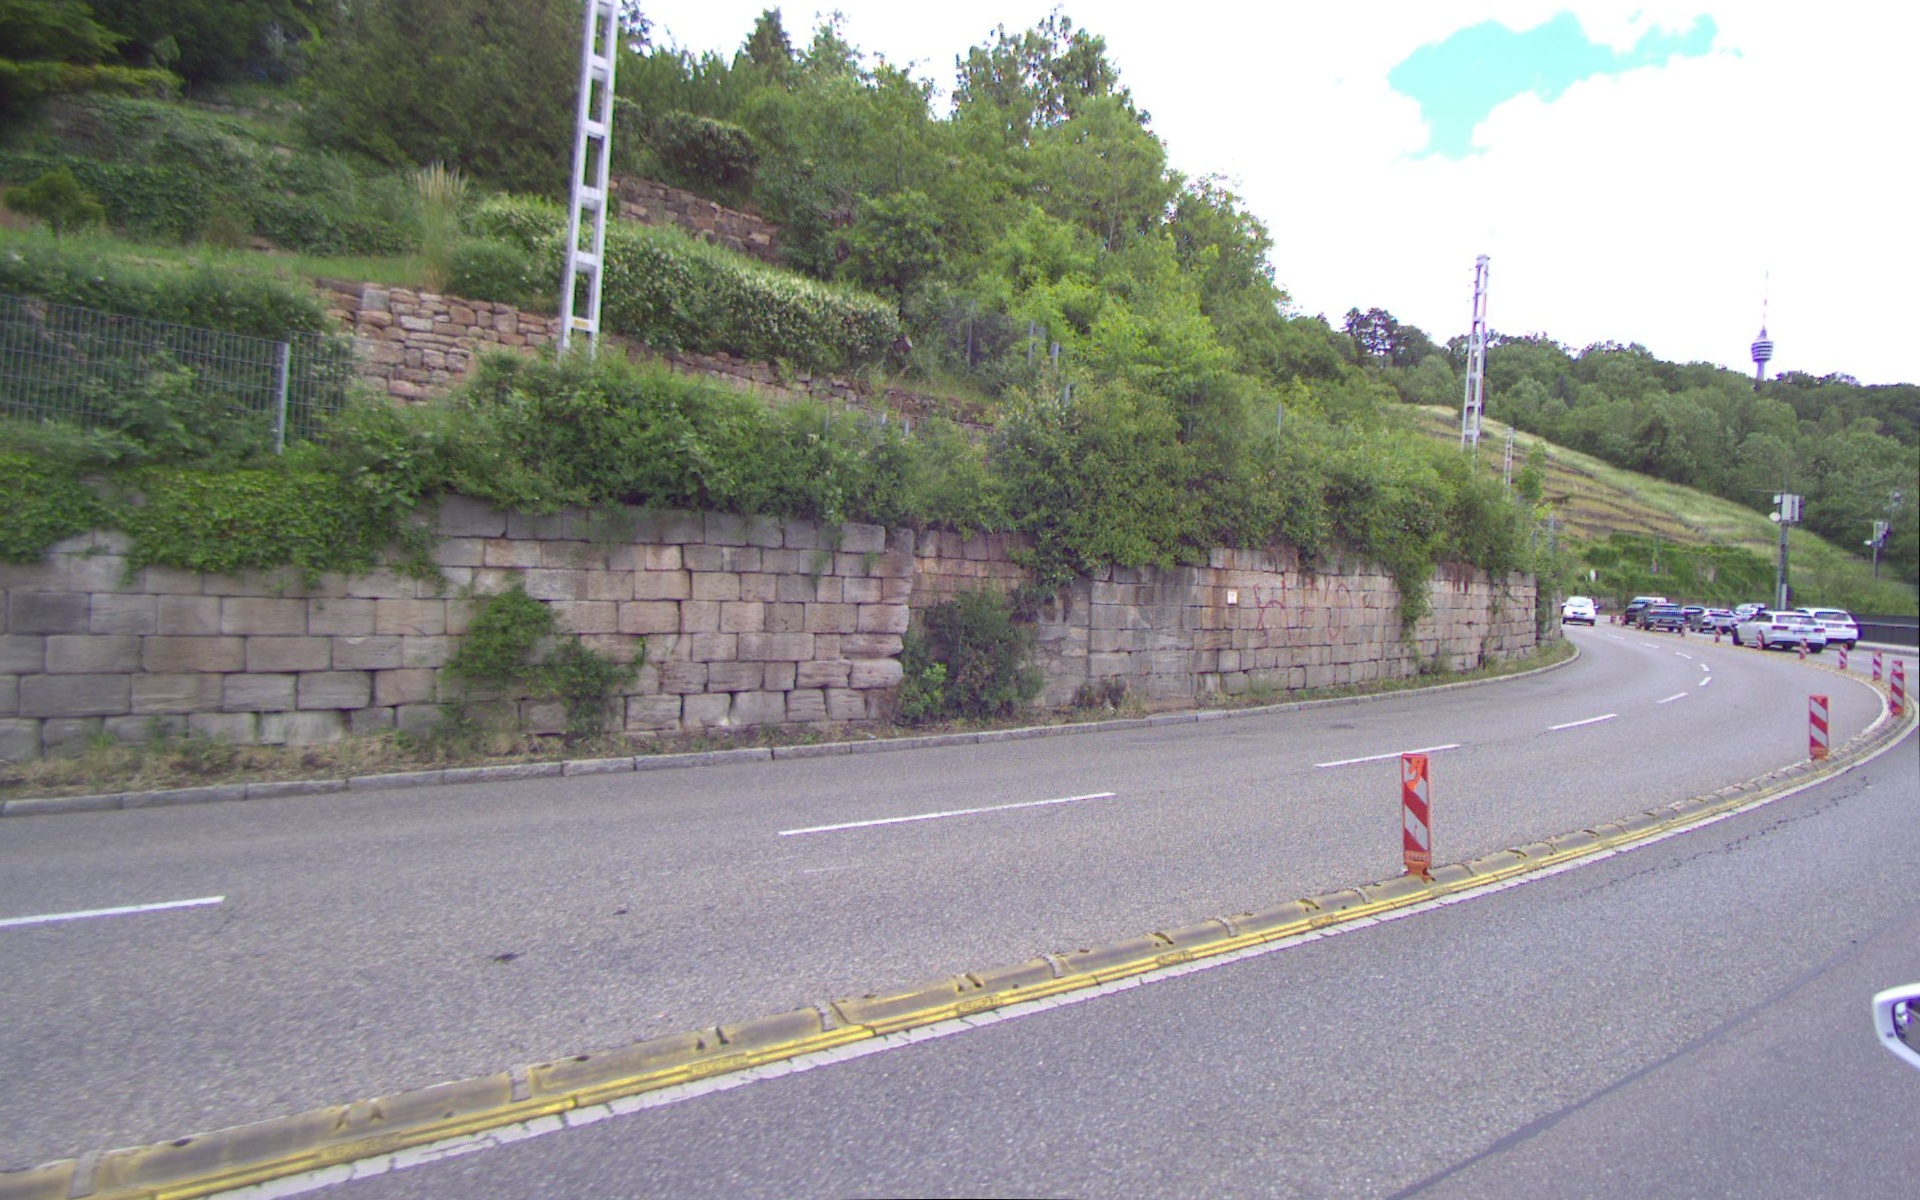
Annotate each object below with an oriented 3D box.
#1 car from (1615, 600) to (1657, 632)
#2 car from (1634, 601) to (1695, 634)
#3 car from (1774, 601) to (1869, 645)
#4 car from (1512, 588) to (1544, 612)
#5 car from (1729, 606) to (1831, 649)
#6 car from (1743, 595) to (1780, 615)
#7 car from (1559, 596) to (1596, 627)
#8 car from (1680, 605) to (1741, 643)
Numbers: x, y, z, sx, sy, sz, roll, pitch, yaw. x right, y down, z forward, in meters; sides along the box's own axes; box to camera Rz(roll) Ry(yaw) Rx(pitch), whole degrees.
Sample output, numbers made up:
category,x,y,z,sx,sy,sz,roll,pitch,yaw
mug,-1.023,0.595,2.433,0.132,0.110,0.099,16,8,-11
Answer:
category,x,y,z,sx,sy,sz,roll,pitch,yaw
car,44.483,1.080,66.188,1.842,1.784,3.995,3,-2,29
car,38.471,0.990,54.948,1.962,1.670,3.999,-1,-3,24
car,36.534,1.035,42.716,1.962,1.740,4.111,0,-3,25
car,43.954,0.030,77.771,1.814,1.749,4.458,3,1,26
car,31.469,1.098,38.713,1.962,1.523,4.664,0,-3,25
car,84.238,0.489,105.577,3.960,1.784,1.858,5,-2,-34
car,36.414,0.657,59.294,1.677,1.570,3.991,4,3,31
car,43.302,1.386,58.031,1.962,2.040,3.997,1,-1,25
